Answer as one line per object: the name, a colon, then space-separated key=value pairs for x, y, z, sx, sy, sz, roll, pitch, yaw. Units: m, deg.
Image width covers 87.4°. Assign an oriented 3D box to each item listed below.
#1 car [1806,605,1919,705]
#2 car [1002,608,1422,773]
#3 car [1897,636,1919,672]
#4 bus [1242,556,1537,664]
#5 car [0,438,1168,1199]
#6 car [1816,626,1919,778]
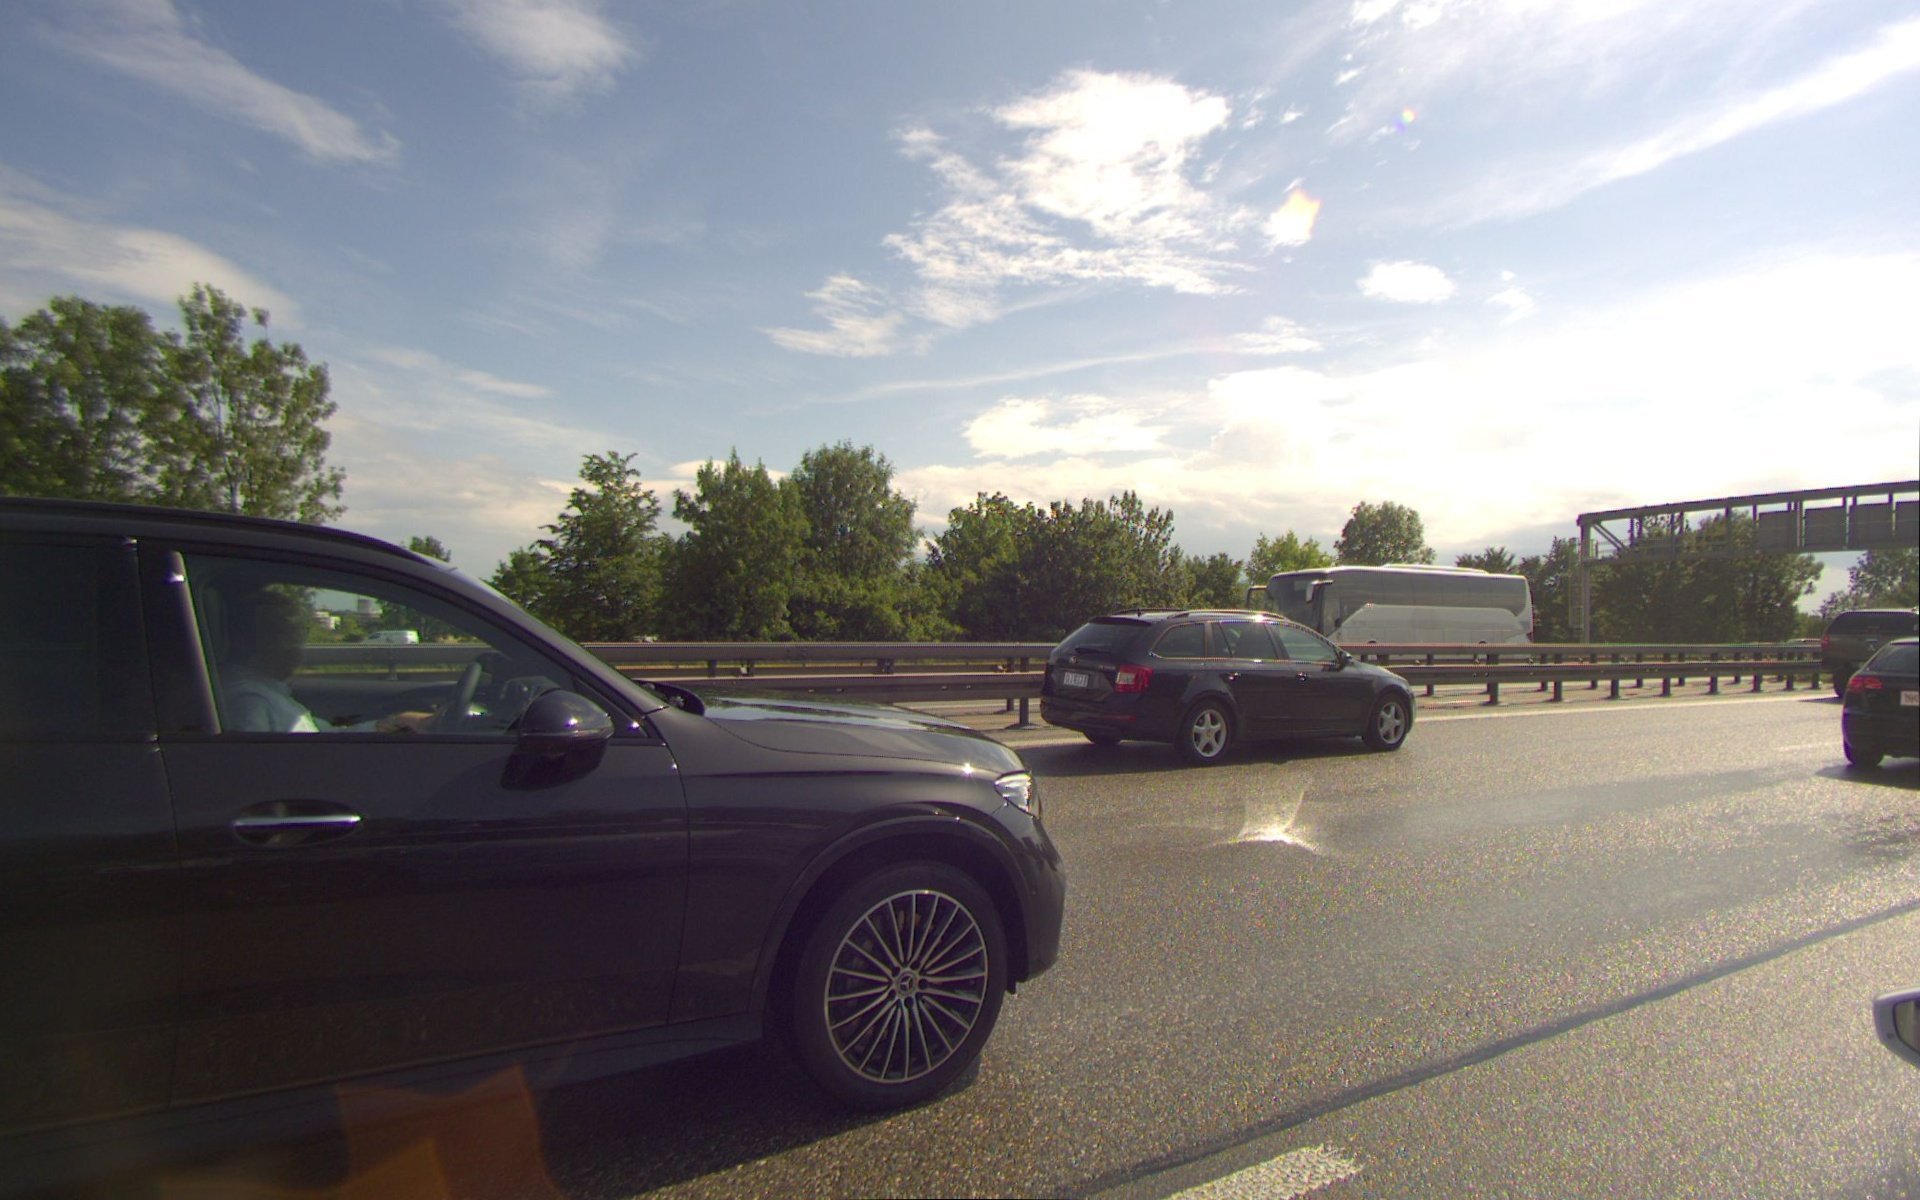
car: x=19.968 y=1.087 z=20.931 sx=5.352 sy=1.869 sz=1.799 roll=1 pitch=0 yaw=-29
car: x=2.777 y=0.851 z=10.820 sx=4.322 sy=1.444 sz=1.910 roll=1 pitch=-1 yaw=-31
car: x=40.857 y=2.249 z=41.740 sx=3.954 sy=1.461 sz=1.767 roll=1 pitch=-1 yaw=-31
bus: x=15.327 y=0.441 z=35.227 sx=12.068 sy=3.330 sz=2.925 roll=1 pitch=0 yaw=-30
car: x=-1.748 y=0.558 z=3.005 sx=4.572 sy=1.701 sz=1.867 roll=1 pitch=0 yaw=-30
car: x=11.009 y=1.030 z=10.634 sx=4.006 sy=1.452 sz=1.742 roll=1 pitch=0 yaw=-30
